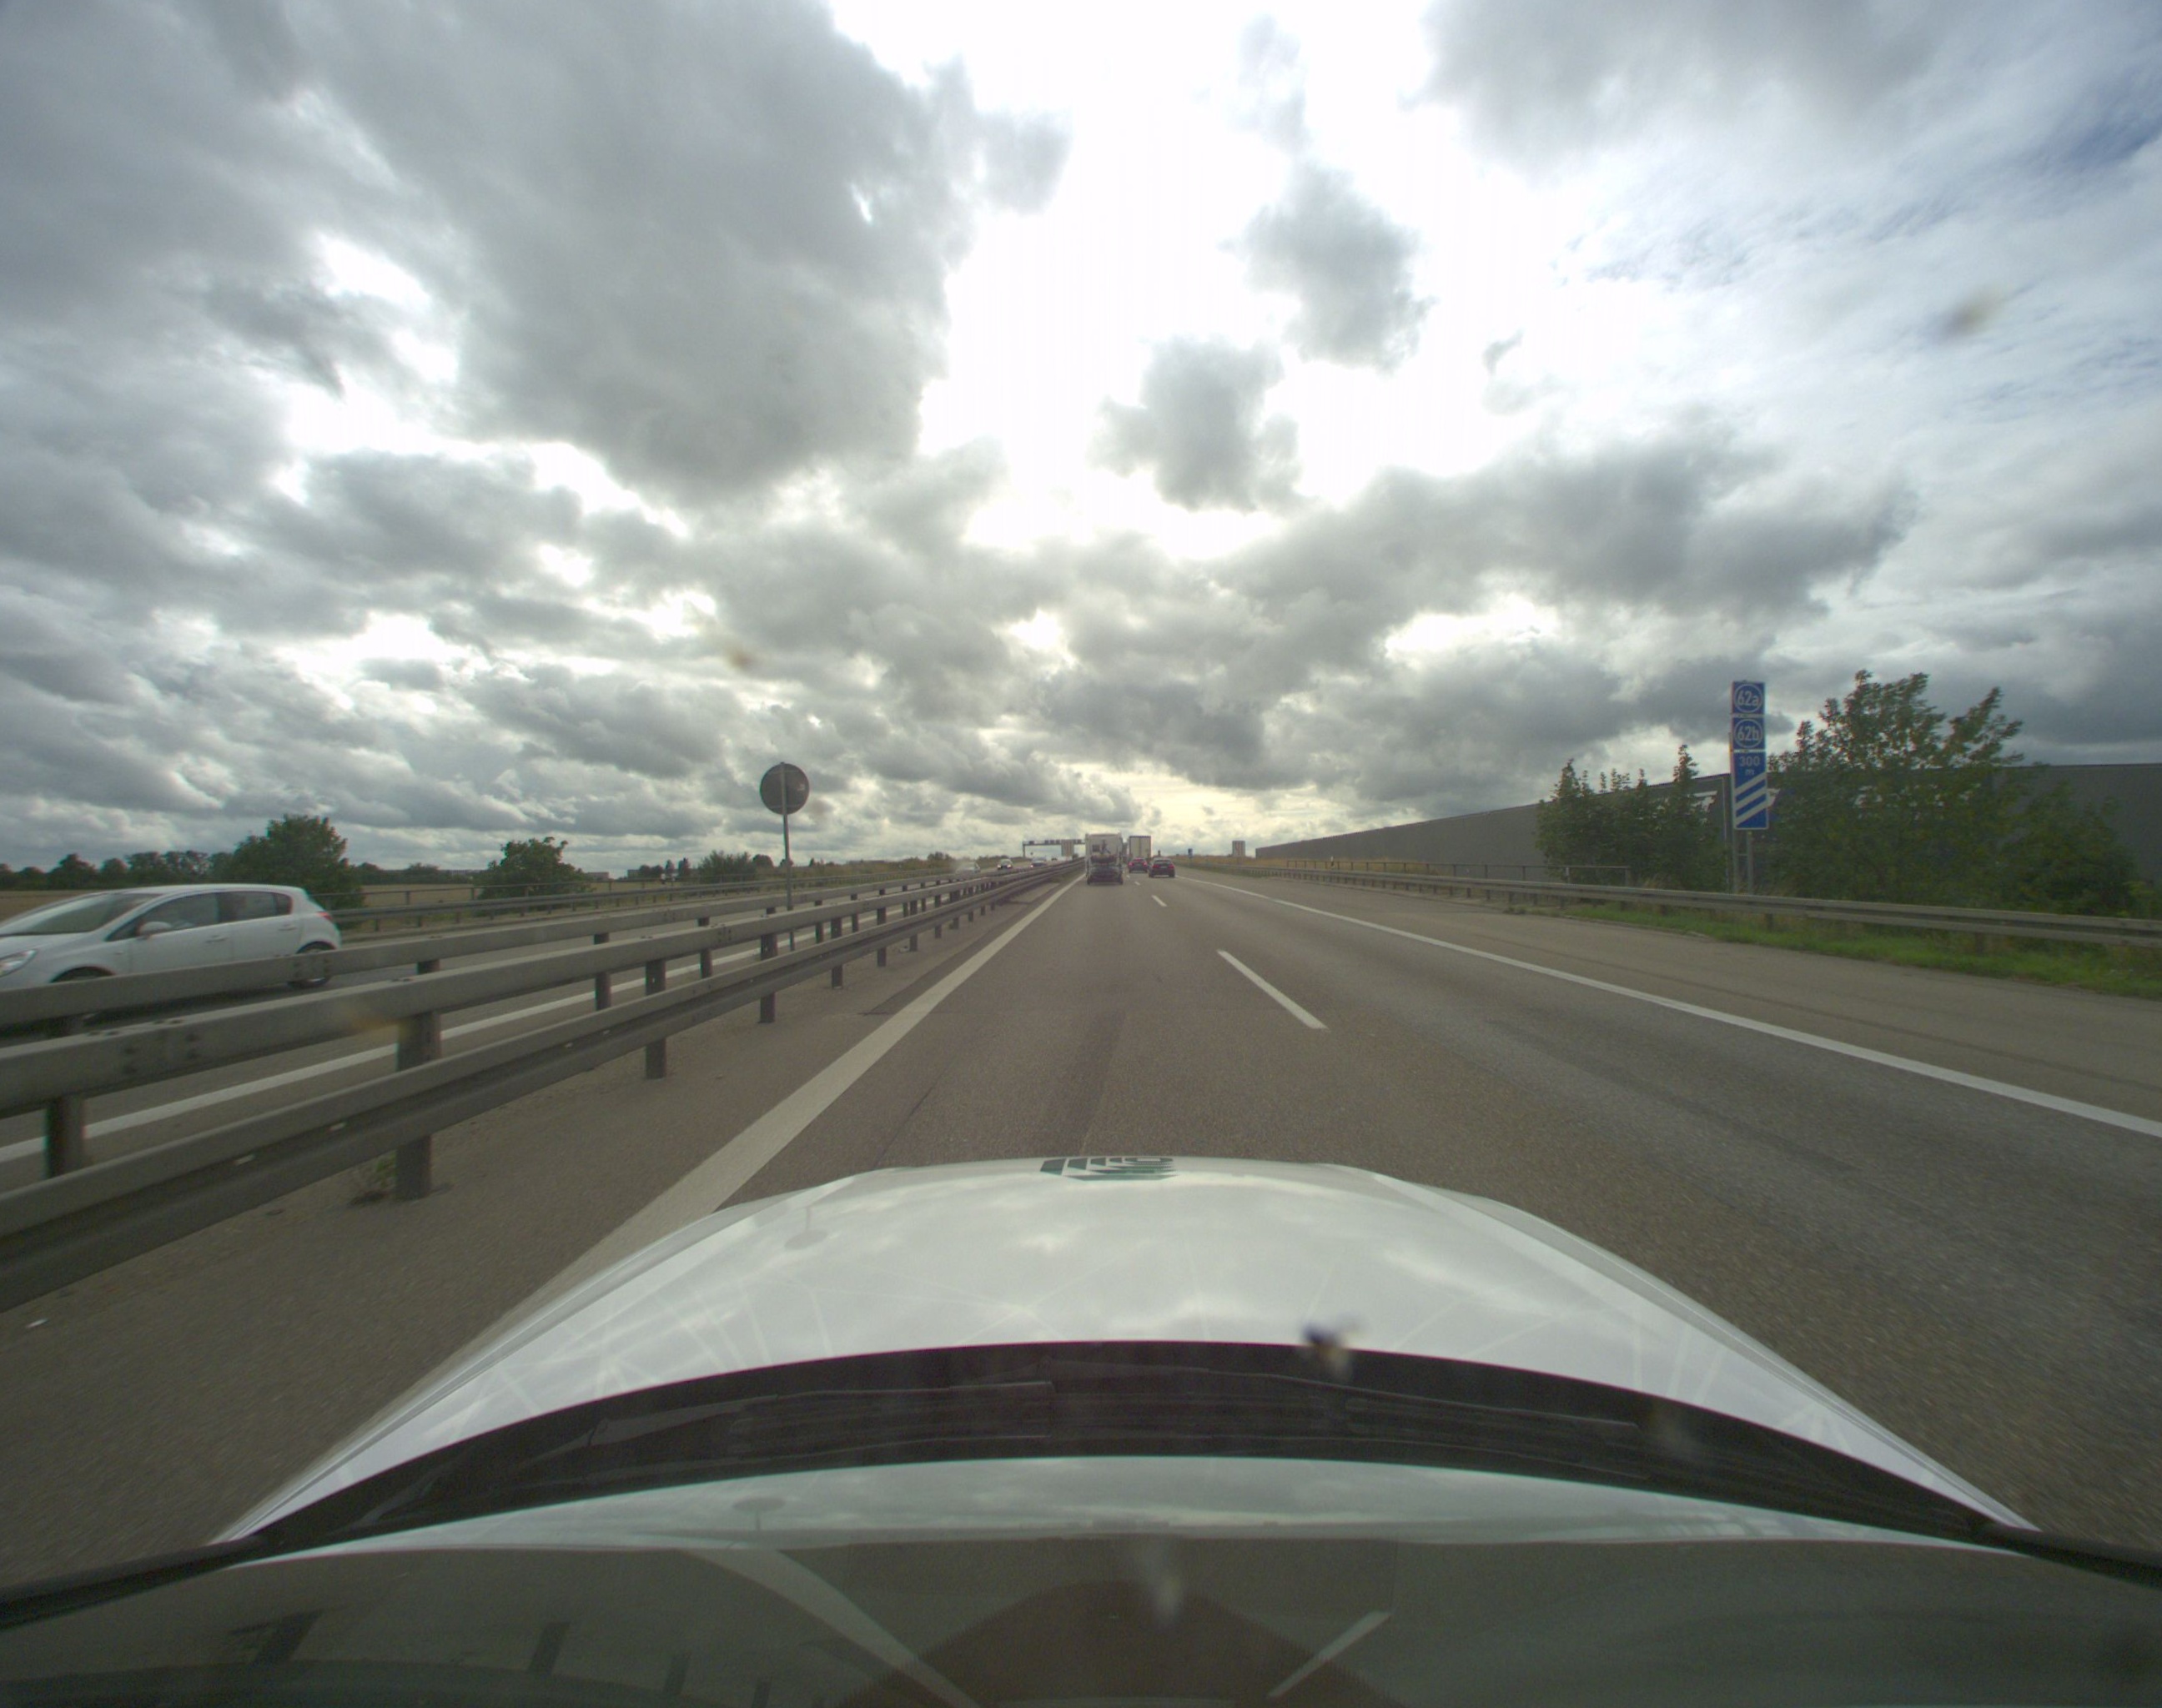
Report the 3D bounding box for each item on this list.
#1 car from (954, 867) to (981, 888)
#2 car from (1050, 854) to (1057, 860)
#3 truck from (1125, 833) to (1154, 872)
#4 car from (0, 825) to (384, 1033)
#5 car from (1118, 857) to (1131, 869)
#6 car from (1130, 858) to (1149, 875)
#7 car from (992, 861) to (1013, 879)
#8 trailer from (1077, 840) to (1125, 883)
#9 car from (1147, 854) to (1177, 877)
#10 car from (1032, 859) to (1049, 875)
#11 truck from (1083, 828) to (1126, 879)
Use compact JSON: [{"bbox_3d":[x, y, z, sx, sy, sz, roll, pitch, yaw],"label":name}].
[{"bbox_3d":[-10.084,2.116,72.706,1.745,1.786,4.001,-1,-1,2],"label":"car"},{"bbox_3d":[-8.160,0.803,243.068,1.932,1.684,4.002,0,0,2],"label":"car"},{"bbox_3d":[7.184,-0.078,100.689,3.234,4.526,7.068,-1,-1,2],"label":"truck"},{"bbox_3d":[-11.481,0.797,10.046,1.987,2.014,4.382,-1,-1,0],"label":"car"},{"bbox_3d":[7.187,1.479,134.137,1.986,1.757,4.001,-1,-1,2],"label":"car"},{"bbox_3d":[5.591,1.244,78.437,1.685,1.520,4.002,-1,-1,2],"label":"car"},{"bbox_3d":[-8.993,1.814,93.458,1.886,2.014,4.001,-1,-1,2],"label":"car"},{"bbox_3d":[1.113,0.421,43.686,2.328,2.136,4.004,-2,-1,4],"label":"trailer"},{"bbox_3d":[6.093,0.863,61.723,1.876,1.620,4.000,-1,-1,1],"label":"car"},{"bbox_3d":[-4.978,1.682,101.230,1.707,1.899,4.001,-1,-1,2],"label":"car"},{"bbox_3d":[1.494,0.050,50.787,2.472,2.950,5.817,-1,-1,2],"label":"truck"}]
